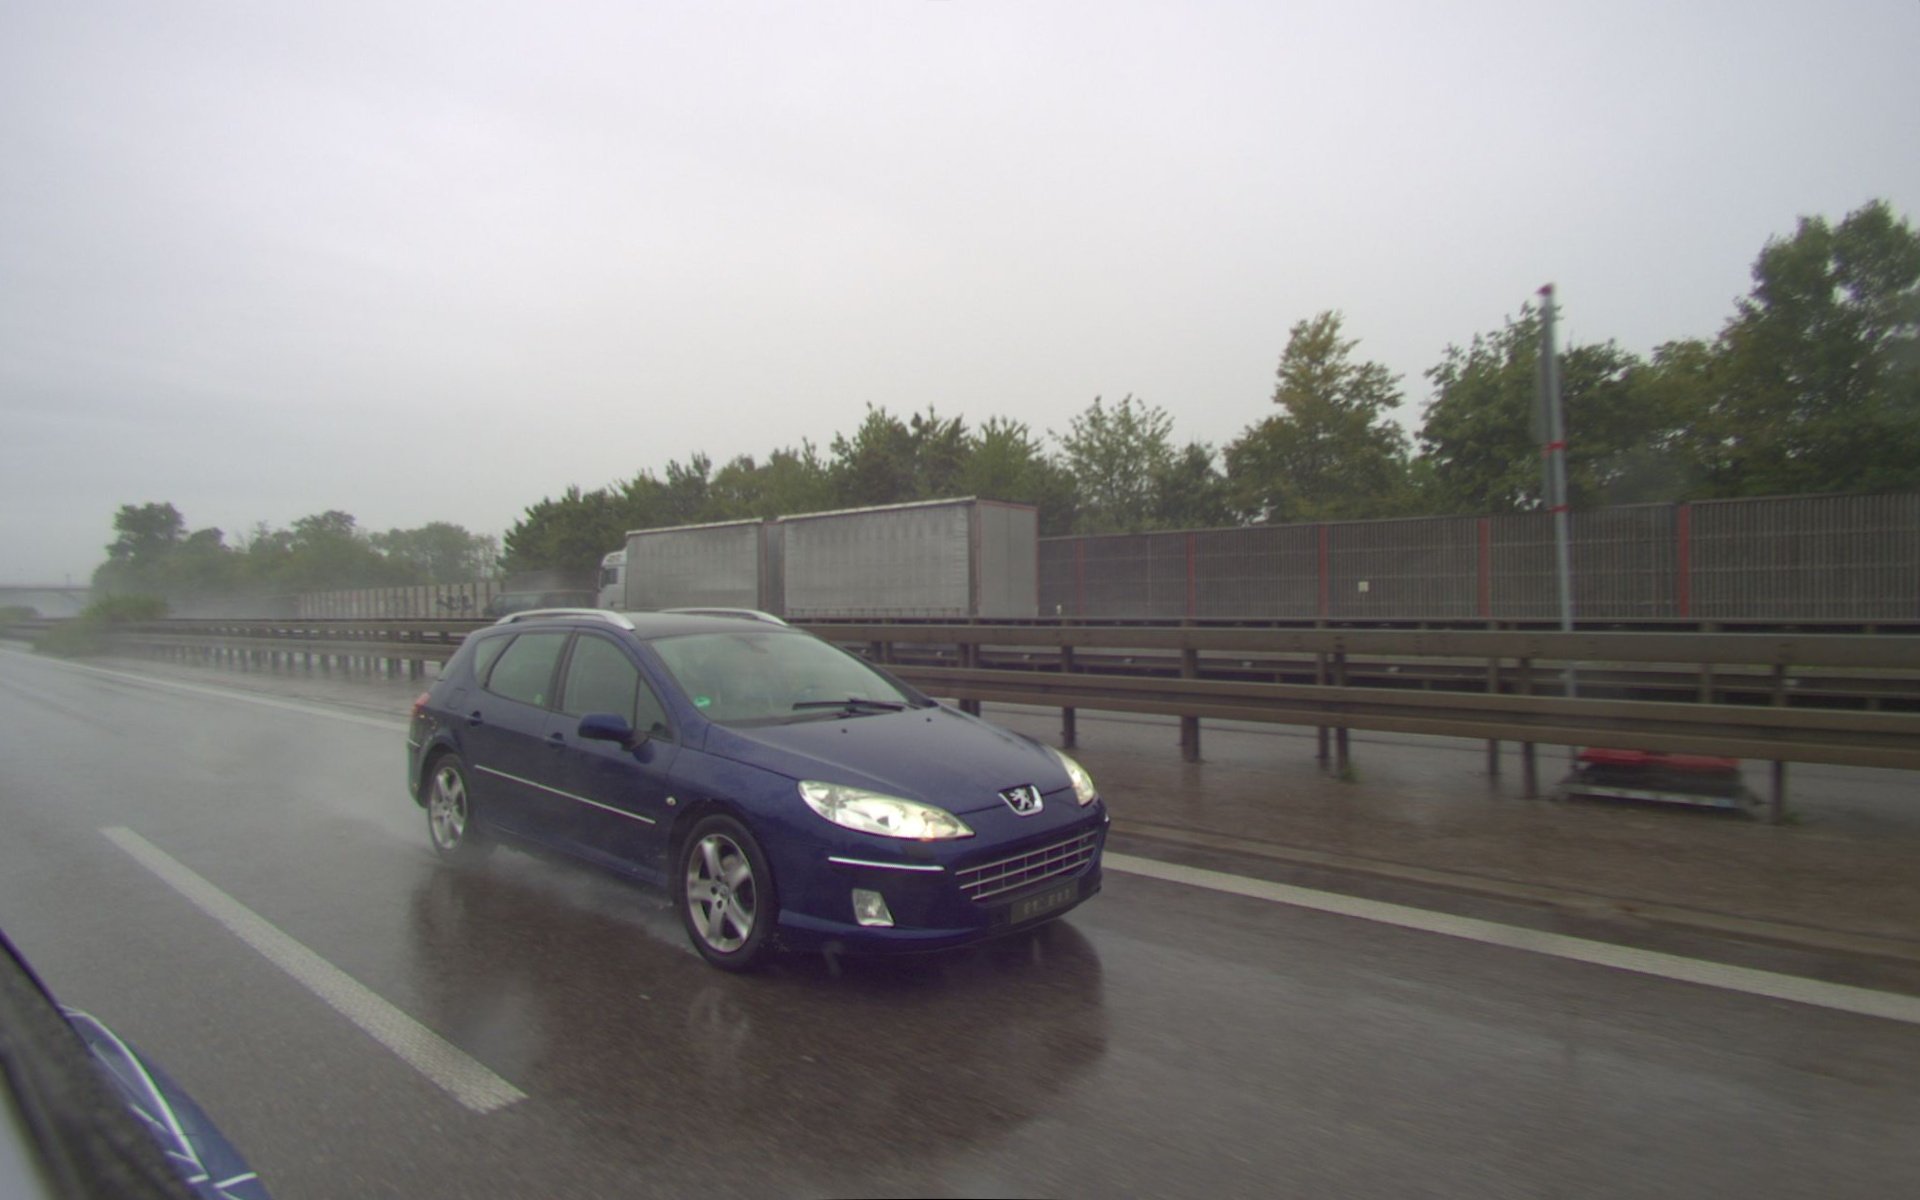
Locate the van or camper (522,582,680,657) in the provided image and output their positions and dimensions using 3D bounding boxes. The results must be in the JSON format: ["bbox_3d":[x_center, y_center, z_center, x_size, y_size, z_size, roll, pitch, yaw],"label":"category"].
[{"bbox_3d":[-10.793,0.565,30.161,5.669,2.029,1.972,-1,-1,42],"label":"van or camper"}]

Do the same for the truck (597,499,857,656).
[{"bbox_3d":[-8.204,-0.584,34.695,9.486,4.674,3.797,-1,-1,41],"label":"truck"}]

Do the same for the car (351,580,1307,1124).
[{"bbox_3d":[-1.123,0.734,5.266,5.155,1.496,2.033,-1,-1,41],"label":"car"}]

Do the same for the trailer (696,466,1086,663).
[{"bbox_3d":[-2.520,-0.752,29.711,12.235,4.731,3.830,-1,-1,41],"label":"trailer"}]
